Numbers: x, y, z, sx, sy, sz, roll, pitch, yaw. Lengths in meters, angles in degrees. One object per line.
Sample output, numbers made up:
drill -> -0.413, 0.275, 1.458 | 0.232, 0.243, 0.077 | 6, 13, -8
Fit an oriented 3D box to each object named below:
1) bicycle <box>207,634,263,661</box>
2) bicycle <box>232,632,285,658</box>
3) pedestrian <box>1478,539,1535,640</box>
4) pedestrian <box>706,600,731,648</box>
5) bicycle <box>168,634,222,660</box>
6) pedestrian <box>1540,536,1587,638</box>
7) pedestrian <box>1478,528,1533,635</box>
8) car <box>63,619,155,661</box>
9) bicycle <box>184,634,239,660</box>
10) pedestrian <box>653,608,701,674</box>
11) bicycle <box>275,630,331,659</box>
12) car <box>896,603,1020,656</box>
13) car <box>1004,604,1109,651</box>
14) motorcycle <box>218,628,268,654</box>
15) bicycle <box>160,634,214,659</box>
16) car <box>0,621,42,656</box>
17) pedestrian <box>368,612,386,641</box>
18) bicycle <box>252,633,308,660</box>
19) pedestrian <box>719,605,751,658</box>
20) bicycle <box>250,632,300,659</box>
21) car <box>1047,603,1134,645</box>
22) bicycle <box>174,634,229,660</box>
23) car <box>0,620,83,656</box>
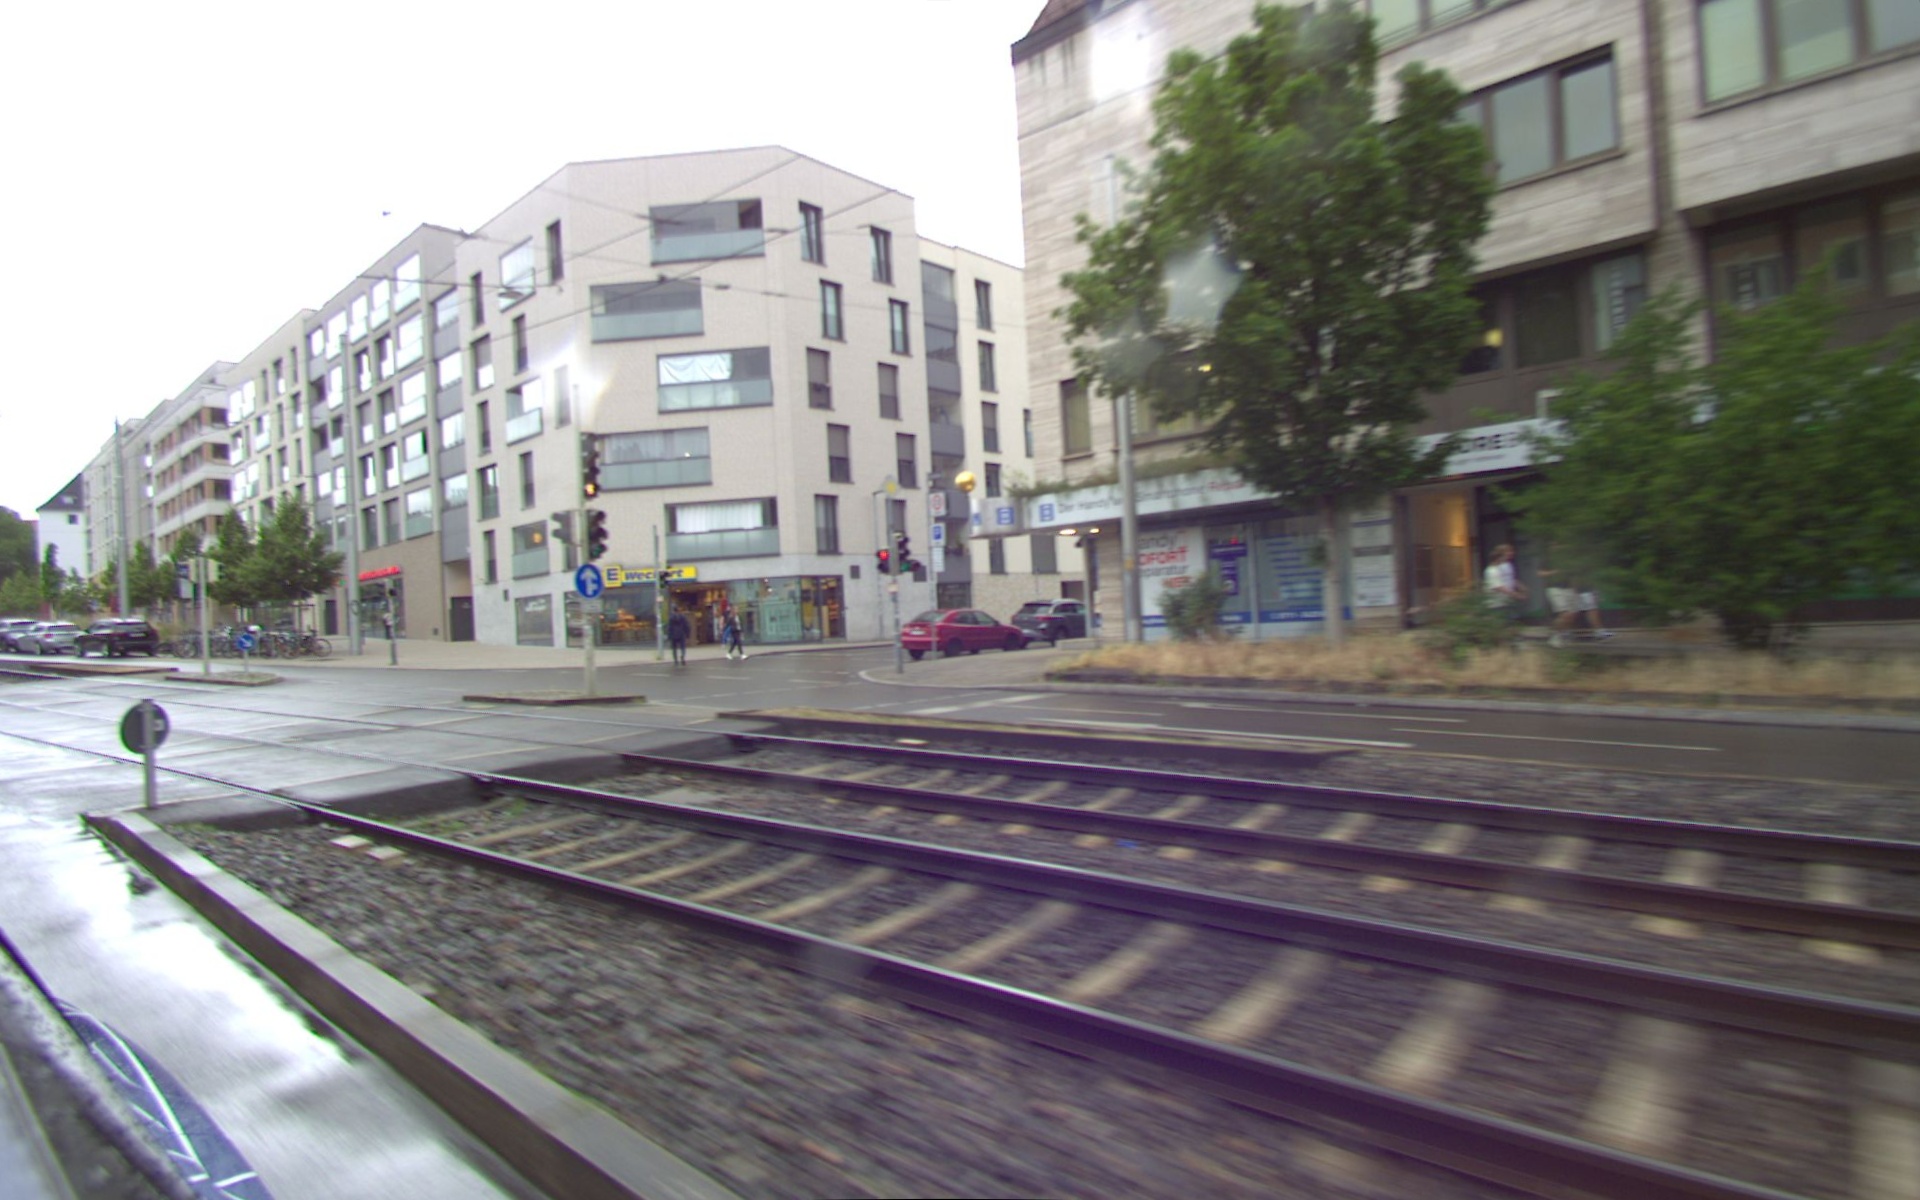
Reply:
bicycle -> -28.534, 1.850, 39.855 | 0.385, 0.924, 1.773 | -1, 1, 27
bicycle -> -27.532, 1.766, 39.740 | 0.385, 0.924, 1.776 | -1, 0, 22
pedestrian -> 8.751, -0.177, 16.206 | 0.683, 1.560, 0.641 | 0, 3, 40
pedestrian -> -8.852, 0.872, 37.151 | 0.580, 1.723, 0.701 | -1, 1, 18
bicycle -> -31.423, 1.924, 41.596 | 0.385, 0.924, 1.773 | -1, 1, 27
pedestrian -> 9.847, -0.217, 16.514 | 0.585, 1.609, 0.499 | 0, 3, 40
pedestrian -> 9.180, -0.317, 17.018 | 0.683, 1.737, 0.641 | 0, 3, 40
car -> -36.263, 1.660, 43.099 | 4.313, 1.615, 1.668 | -1, 2, 31
bicycle -> -29.800, 1.871, 40.322 | 0.385, 0.924, 1.773 | -1, 1, 27
pedestrian -> -8.082, 1.144, 28.883 | 0.957, 1.843, 0.923 | -1, -1, 33
bicycle -> -25.024, 1.680, 38.558 | 0.438, 0.987, 1.773 | -1, 2, 27
car -> 0.000, 0.812, 29.519 | 1.593, 1.327, 3.654 | 0, 1, 42
car -> 3.198, 0.856, 32.907 | 1.593, 1.327, 3.656 | 0, 1, 41
motorcycle -> -31.468, 1.792, 44.427 | 0.540, 1.050, 1.748 | 1, 0, 27
bicycle -> -32.131, 1.925, 42.096 | 0.385, 0.924, 1.773 | -1, 1, 27
car -> -46.433, 1.858, 48.949 | 4.029, 1.541, 1.671 | -1, 1, 27
pedestrian -> -30.138, 1.349, 52.338 | 0.803, 1.460, 0.533 | 0, 3, 44
bicycle -> -26.145, 1.769, 38.925 | 0.386, 0.883, 1.772 | -1, 2, 29
pedestrian -> -7.026, 0.984, 31.625 | 0.767, 1.580, 0.648 | -2, 2, 4
bicycle -> -26.635, 1.759, 39.376 | 0.383, 0.924, 1.781 | -2, 1, 14
car -> 6.040, 1.057, 46.548 | 2.001, 1.607, 3.943 | 0, 3, 44
bicycle -> -30.530, 1.884, 40.736 | 0.385, 0.924, 1.773 | -1, 0, 27
car -> -42.079, 1.722, 46.295 | 4.313, 1.475, 1.668 | -1, 2, 31
